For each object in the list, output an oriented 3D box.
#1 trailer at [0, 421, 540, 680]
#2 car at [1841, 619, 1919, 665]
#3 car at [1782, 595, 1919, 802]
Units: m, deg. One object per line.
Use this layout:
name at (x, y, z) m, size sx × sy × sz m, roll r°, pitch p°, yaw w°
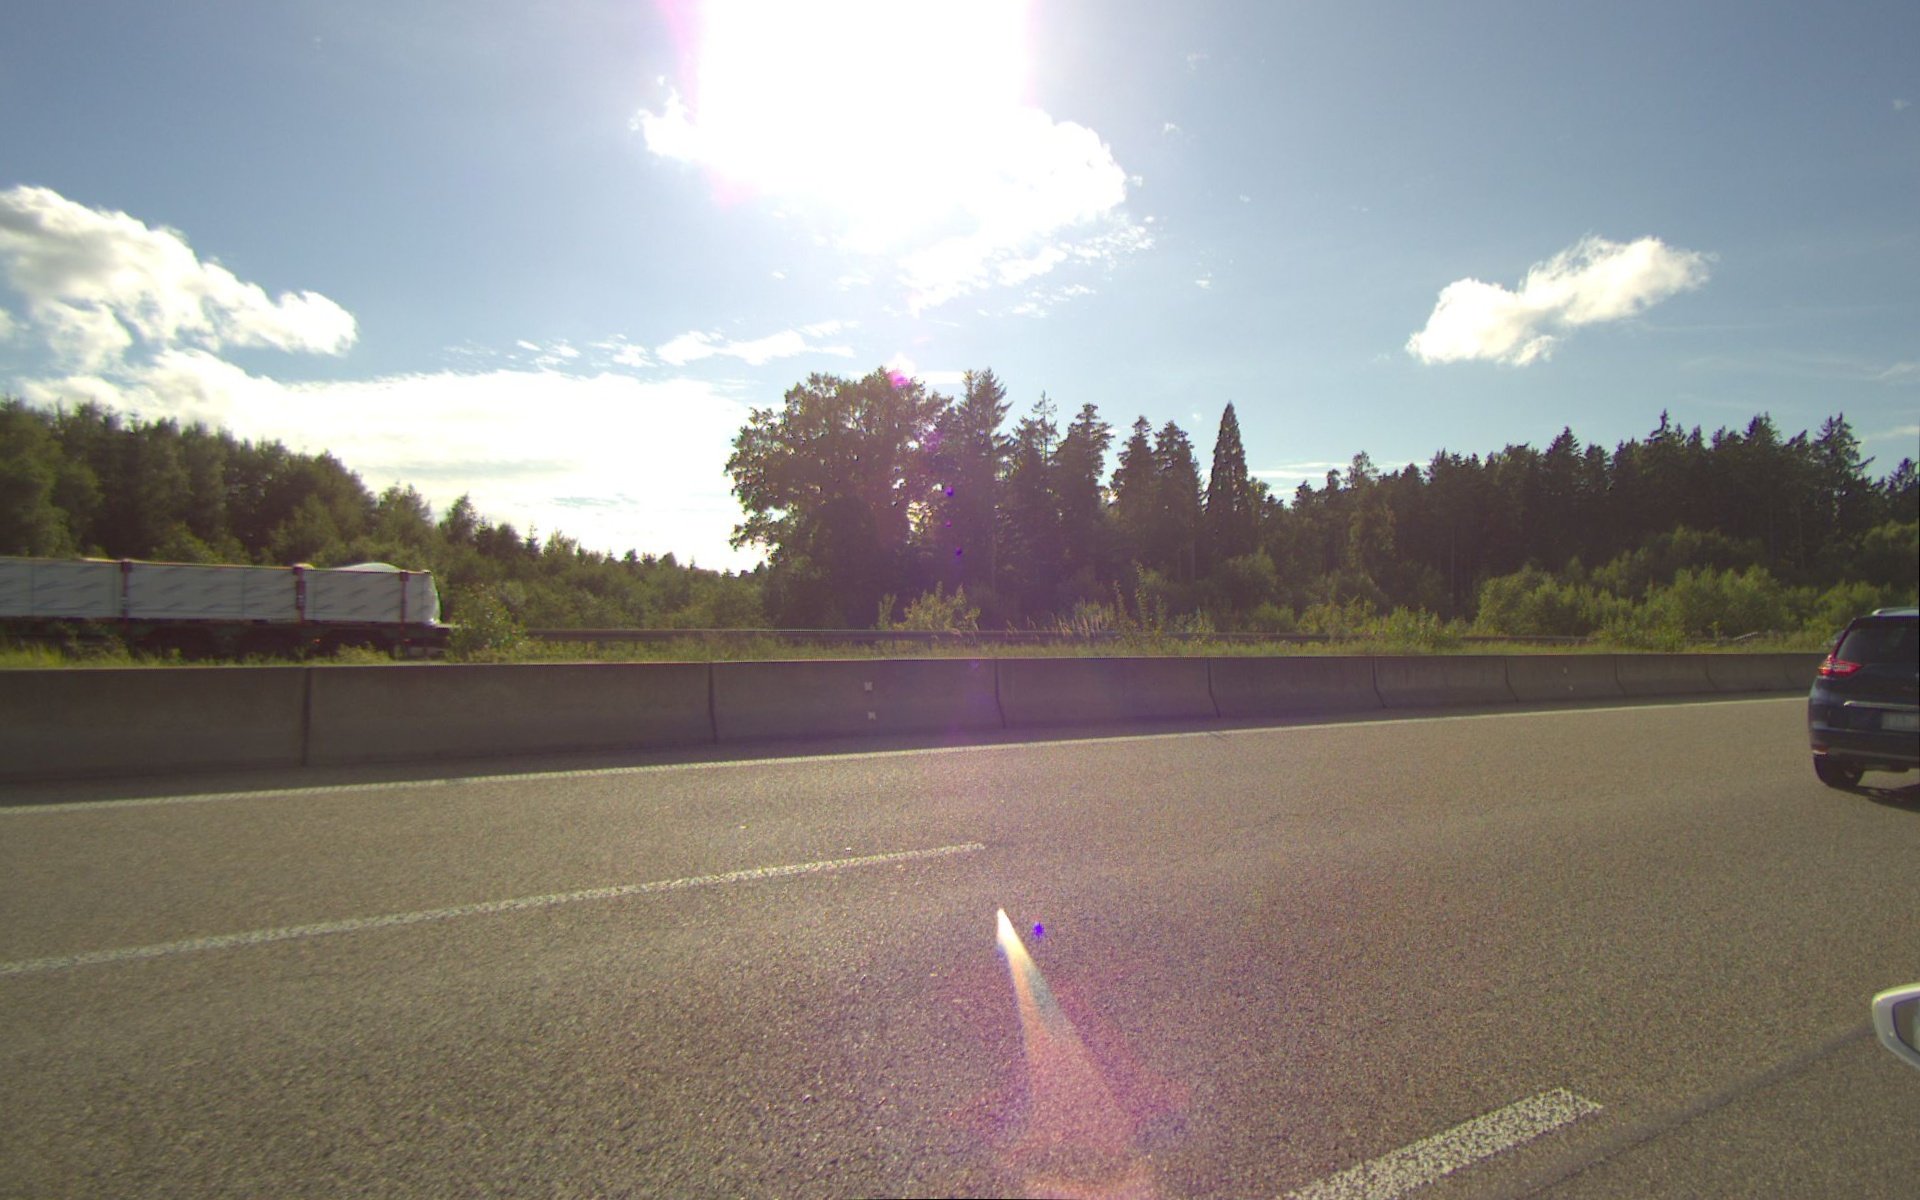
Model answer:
trailer at (-14.931, -0.768, 17.820) m, size 13.480 × 4.062 × 3.359 m, roll 1°, pitch 0°, yaw -30°
car at (35.527, 1.580, 38.051) m, size 4.411 × 1.630 × 1.917 m, roll 1°, pitch 0°, yaw -30°
car at (10.008, 0.876, 9.551) m, size 4.477 × 1.729 × 1.984 m, roll 1°, pitch 0°, yaw -31°
